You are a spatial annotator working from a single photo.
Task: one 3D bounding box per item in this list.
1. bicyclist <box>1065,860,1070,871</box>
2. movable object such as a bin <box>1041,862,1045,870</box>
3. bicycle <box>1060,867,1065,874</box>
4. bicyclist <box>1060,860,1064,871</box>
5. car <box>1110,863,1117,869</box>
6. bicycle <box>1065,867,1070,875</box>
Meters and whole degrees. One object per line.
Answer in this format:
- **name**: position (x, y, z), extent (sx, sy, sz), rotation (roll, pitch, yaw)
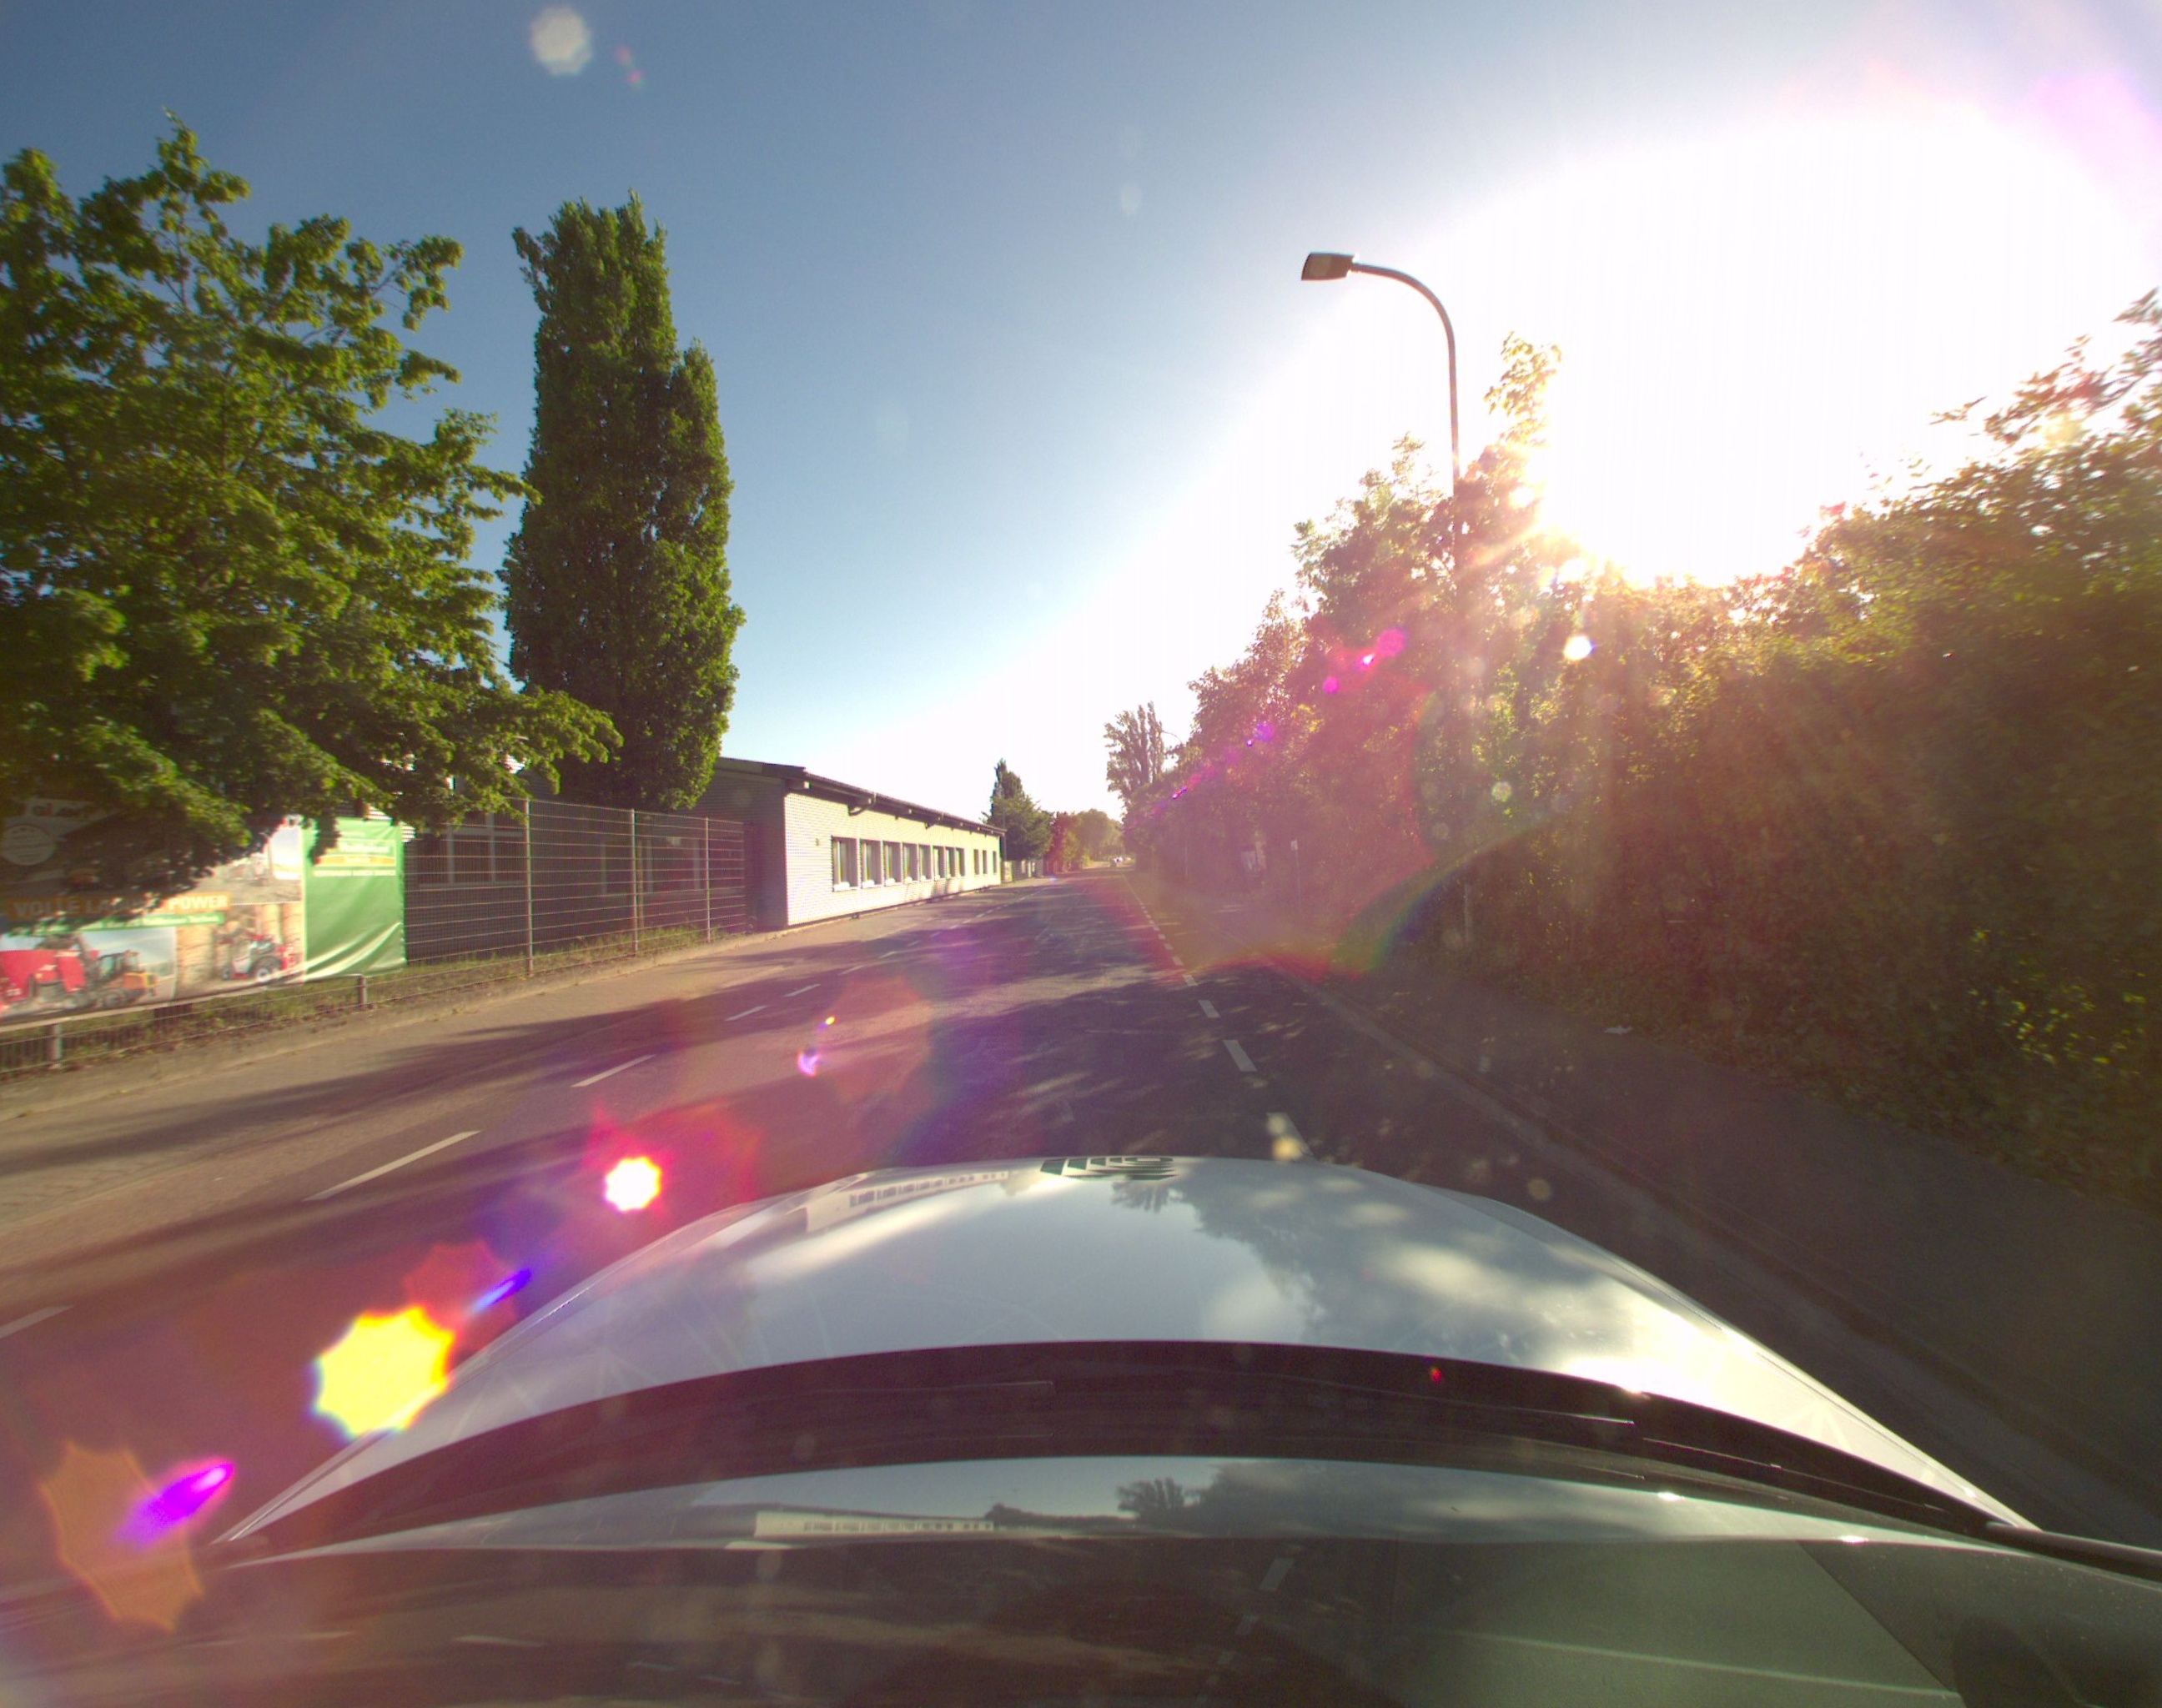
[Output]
- **bicyclist**: position (-1.880, 1.542, 112.759), extent (0.686, 1.532, 0.723), rotation (-1, 0, 2)
- **movable object such as a bin**: position (-5.880, 1.848, 125.770), extent (0.461, 1.076, 1.571), rotation (-2, 0, 2)
- **bicycle**: position (-2.616, 2.278, 113.269), extent (0.560, 1.034, 1.351), rotation (-1, 0, 2)
- **bicyclist**: position (-2.627, 1.633, 113.194), extent (0.558, 1.534, 0.690), rotation (-1, 0, 2)
- **car**: position (8.909, 3.301, 224.078), extent (1.934, 1.651, 4.312), rotation (-1, 0, 2)
- **bicycle**: position (-1.872, 2.384, 112.777), extent (0.686, 1.034, 1.351), rotation (-1, 0, 2)
